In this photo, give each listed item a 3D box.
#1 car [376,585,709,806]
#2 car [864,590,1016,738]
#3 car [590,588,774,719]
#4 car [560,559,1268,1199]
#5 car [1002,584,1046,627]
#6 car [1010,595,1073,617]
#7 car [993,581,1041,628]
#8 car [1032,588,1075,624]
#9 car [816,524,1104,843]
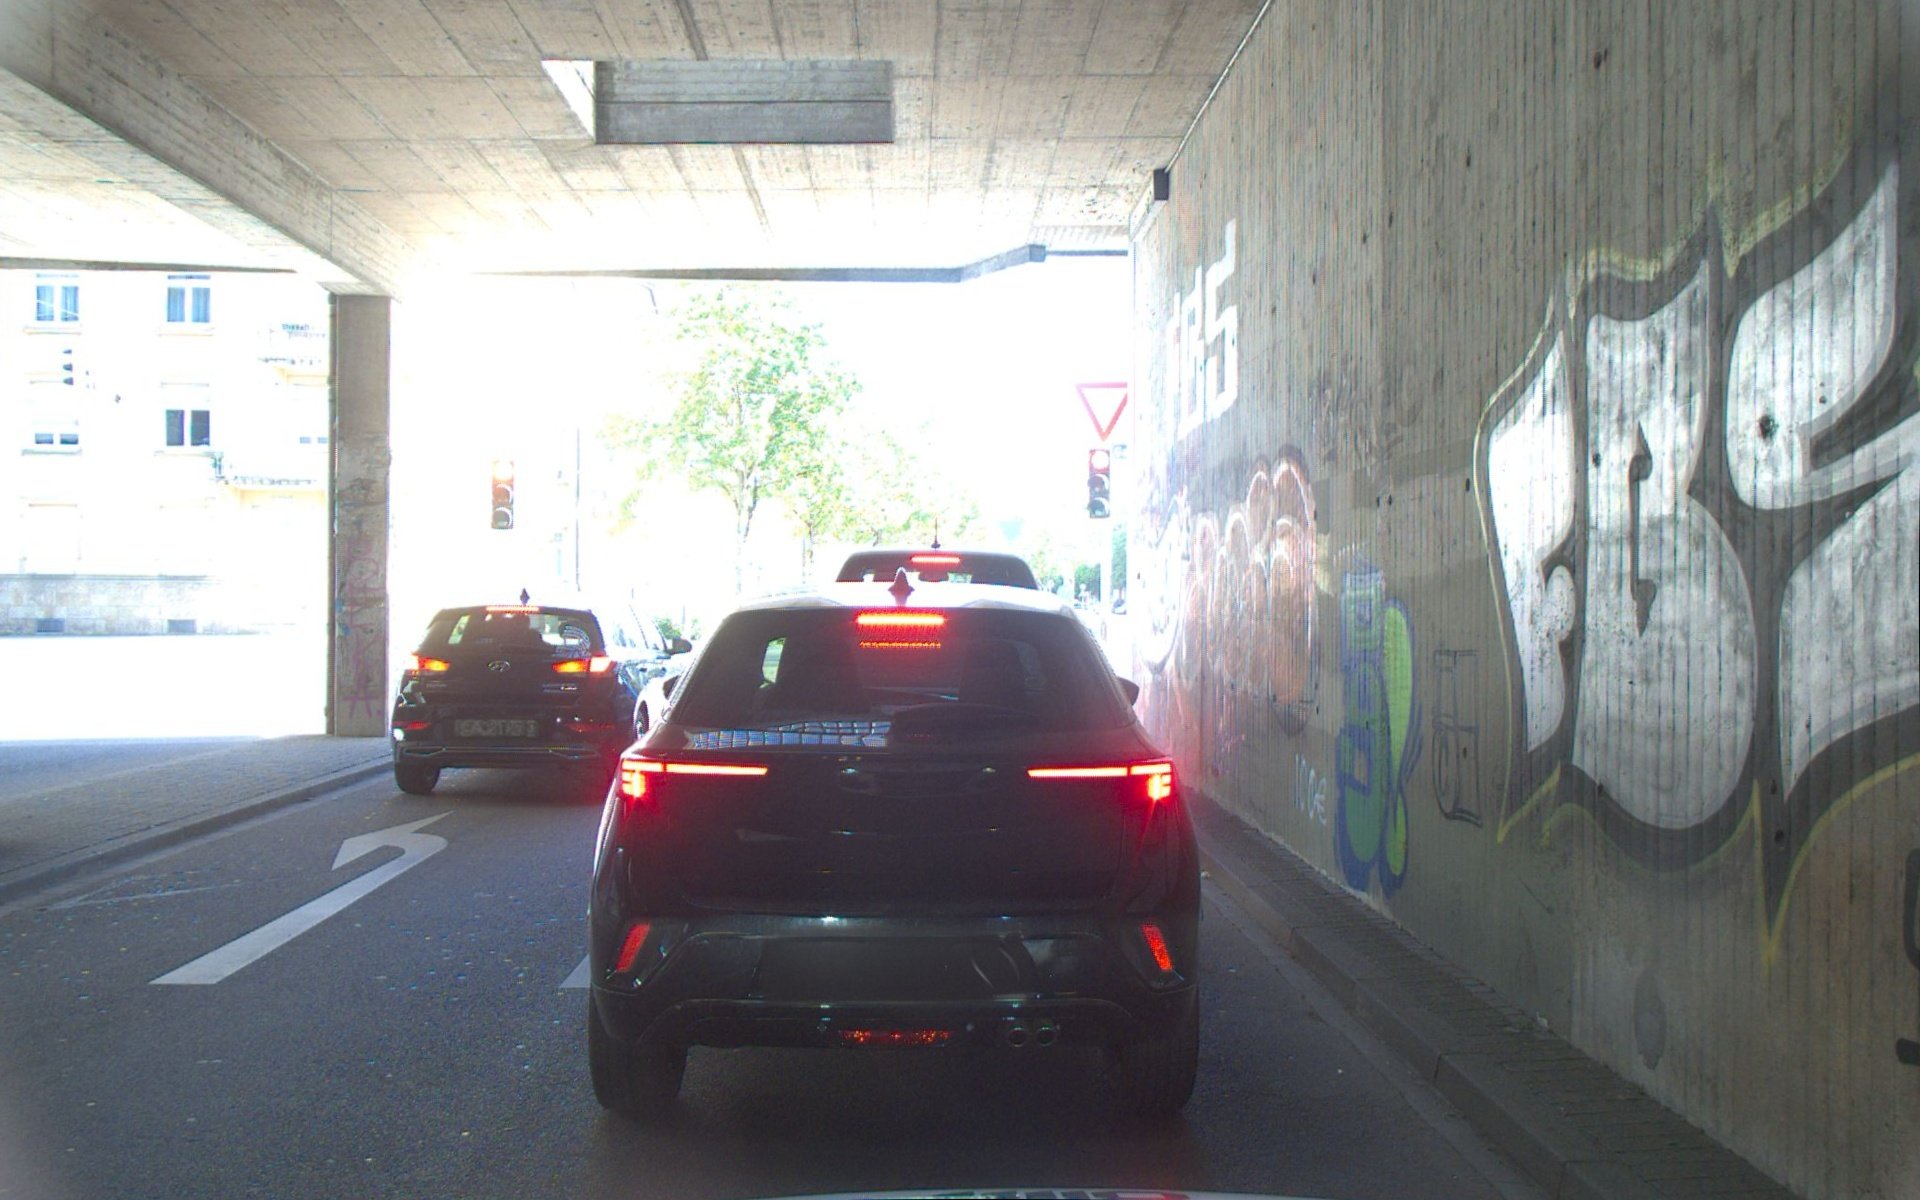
[{"bbox_3d":[-3.147,0.652,13.237,1.726,1.506,3.843,0,0,-1],"label":"car"},{"bbox_3d":[-0.237,0.664,19.254,1.576,1.539,4.053,0,0,-1],"label":"car"},{"bbox_3d":[-3.418,0.613,20.958,1.726,1.506,3.843,0,0,-1],"label":"car"},{"bbox_3d":[-0.137,0.679,6.095,1.726,1.558,4.088,0,0,-1],"label":"car"},{"bbox_3d":[2.667,0.212,68.360,1.717,1.696,3.946,1,0,3],"label":"car"},{"bbox_3d":[6.586,0.510,133.876,4.732,1.696,1.812,1,0,-22],"label":"car"},{"bbox_3d":[2.178,0.177,62.234,1.717,1.696,3.946,1,0,3],"label":"car"},{"bbox_3d":[4.582,0.297,80.492,1.716,1.696,3.947,1,0,8],"label":"car"},{"bbox_3d":[-0.031,0.497,12.040,1.726,1.915,4.145,0,0,-1],"label":"car"}]
